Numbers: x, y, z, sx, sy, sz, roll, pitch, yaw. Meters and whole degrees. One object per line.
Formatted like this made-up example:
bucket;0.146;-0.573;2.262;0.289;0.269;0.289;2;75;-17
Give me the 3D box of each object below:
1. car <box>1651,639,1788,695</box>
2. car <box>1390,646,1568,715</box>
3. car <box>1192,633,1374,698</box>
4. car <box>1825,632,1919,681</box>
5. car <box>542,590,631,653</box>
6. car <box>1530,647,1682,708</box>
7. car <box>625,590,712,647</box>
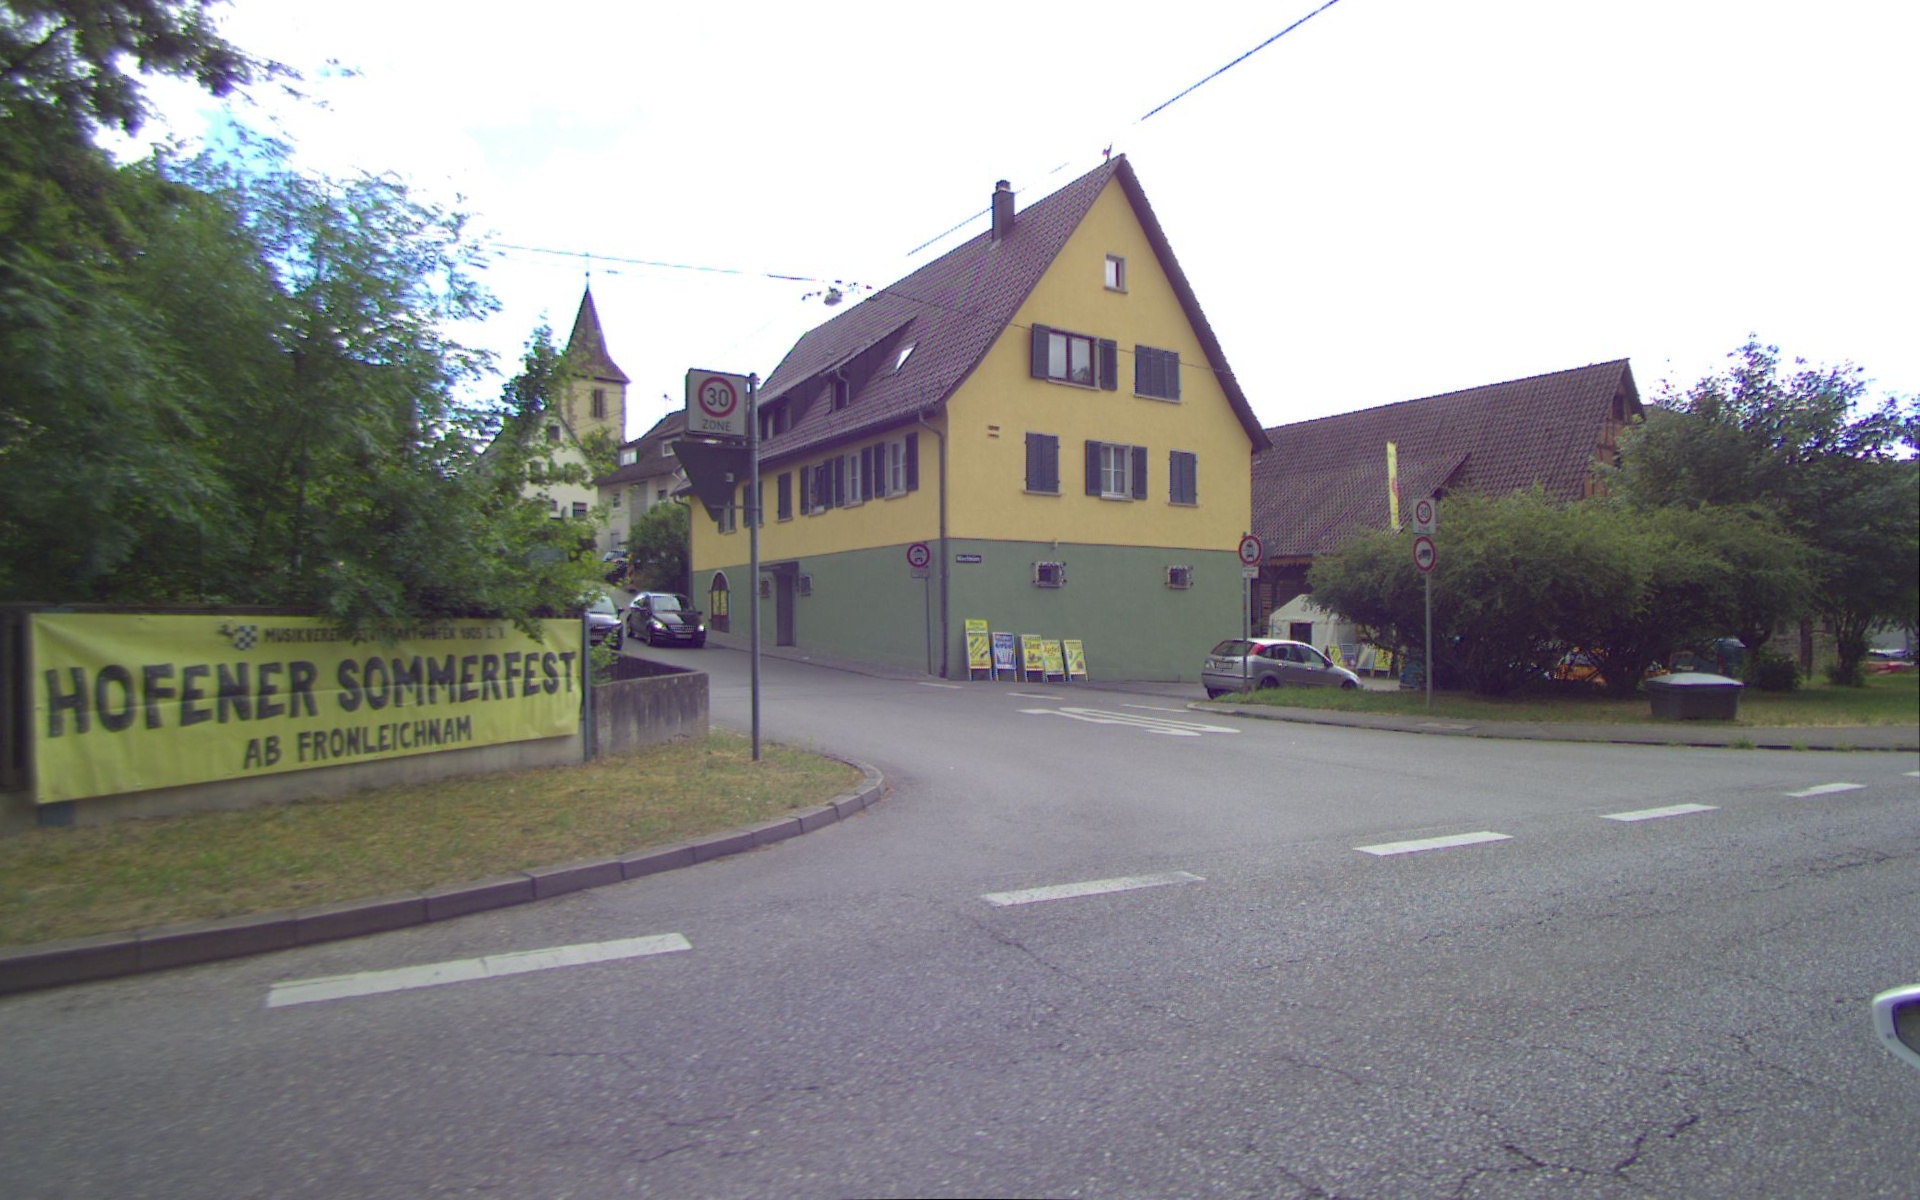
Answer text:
car;23.672;2.049;31.295;3.948;1.639;1.806;1;-3;-27
car;13.655;2.061;26.404;4.390;1.639;1.987;1;-3;-27
car;7.457;1.464;23.084;4.102;1.362;1.638;1;-3;-30
car;32.428;1.947;35.198;3.948;1.639;1.806;1;-3;-27
car;-11.128;0.590;29.756;1.922;1.617;3.969;2;2;-28
car;18.766;2.200;29.177;3.948;1.639;1.942;1;-3;-26
car;-9.489;0.554;32.501;1.922;1.617;3.969;1;2;-28
